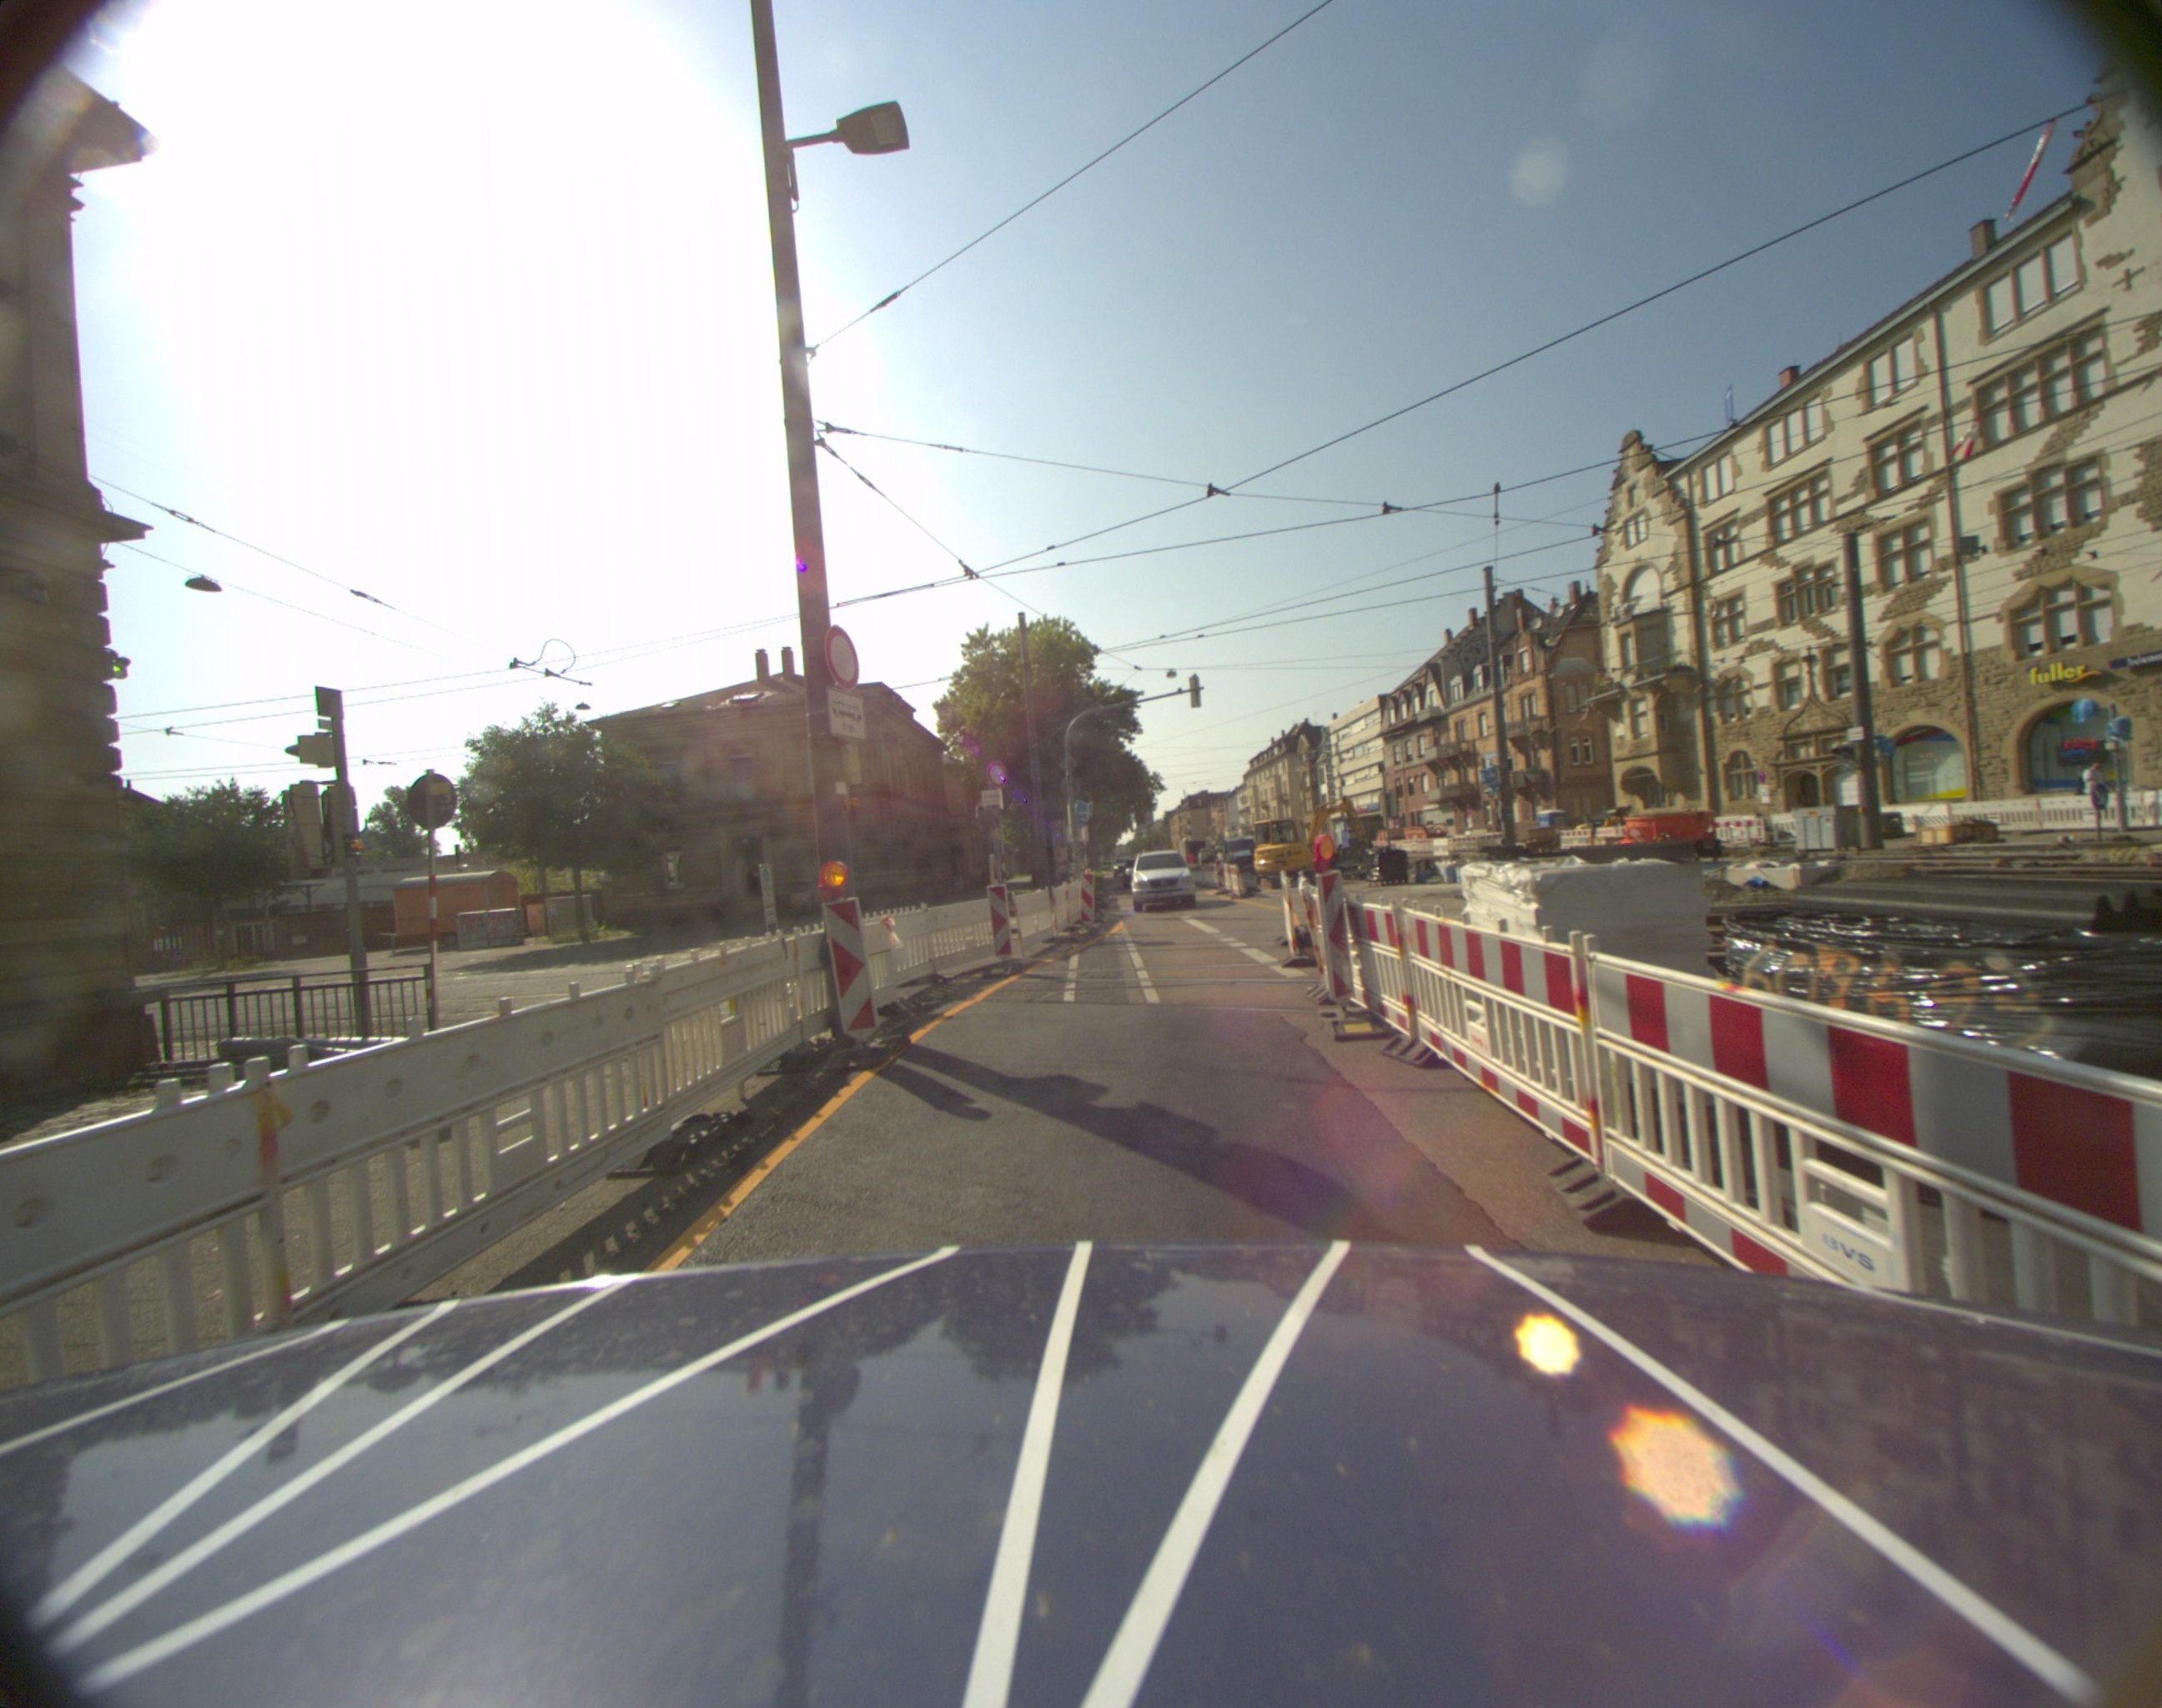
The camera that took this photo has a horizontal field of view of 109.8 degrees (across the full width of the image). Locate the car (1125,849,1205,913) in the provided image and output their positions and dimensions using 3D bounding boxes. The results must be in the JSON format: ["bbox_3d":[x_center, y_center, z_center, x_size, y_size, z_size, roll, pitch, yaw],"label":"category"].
[{"bbox_3d":[2.535,0.774,24.205,1.998,1.685,5.226,-4,0,1],"label":"car"}]

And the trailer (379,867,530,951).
[{"bbox_3d":[-26.751,2.295,32.625,3.999,3.051,2.555,-4,2,-7],"label":"trailer"}]

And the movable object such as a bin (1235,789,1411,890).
[{"bbox_3d":[9.326,-0.567,29.269,6.167,3.326,2.114,-5,0,-18],"label":"movable object such as a bin"}]

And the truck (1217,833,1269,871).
[{"bbox_3d":[10.766,-0.112,51.189,2.163,2.209,7.051,-4,0,3],"label":"truck"}]

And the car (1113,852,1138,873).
[{"bbox_3d":[4.052,0.757,69.572,1.998,1.685,5.226,-4,-1,1],"label":"car"}]

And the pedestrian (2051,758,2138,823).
[{"bbox_3d":[29.602,-1.842,22.222,0.917,1.731,1.146,-5,0,1],"label":"pedestrian"}]

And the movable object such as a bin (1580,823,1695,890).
[{"bbox_3d":[10.780,0.040,14.836,0.751,1.163,2.292,-4,0,8],"label":"movable object such as a bin"}]

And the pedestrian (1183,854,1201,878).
[{"bbox_3d":[8.390,0.890,57.458,1.034,1.700,1.095,-4,0,0],"label":"pedestrian"}]

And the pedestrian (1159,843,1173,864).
[{"bbox_3d":[8.603,-0.100,76.992,0.909,2.002,0.913,-6,1,28],"label":"pedestrian"}]

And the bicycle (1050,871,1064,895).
[{"bbox_3d":[-1.049,1.272,33.164,0.411,0.981,1.376,-4,0,3],"label":"bicycle"}]
